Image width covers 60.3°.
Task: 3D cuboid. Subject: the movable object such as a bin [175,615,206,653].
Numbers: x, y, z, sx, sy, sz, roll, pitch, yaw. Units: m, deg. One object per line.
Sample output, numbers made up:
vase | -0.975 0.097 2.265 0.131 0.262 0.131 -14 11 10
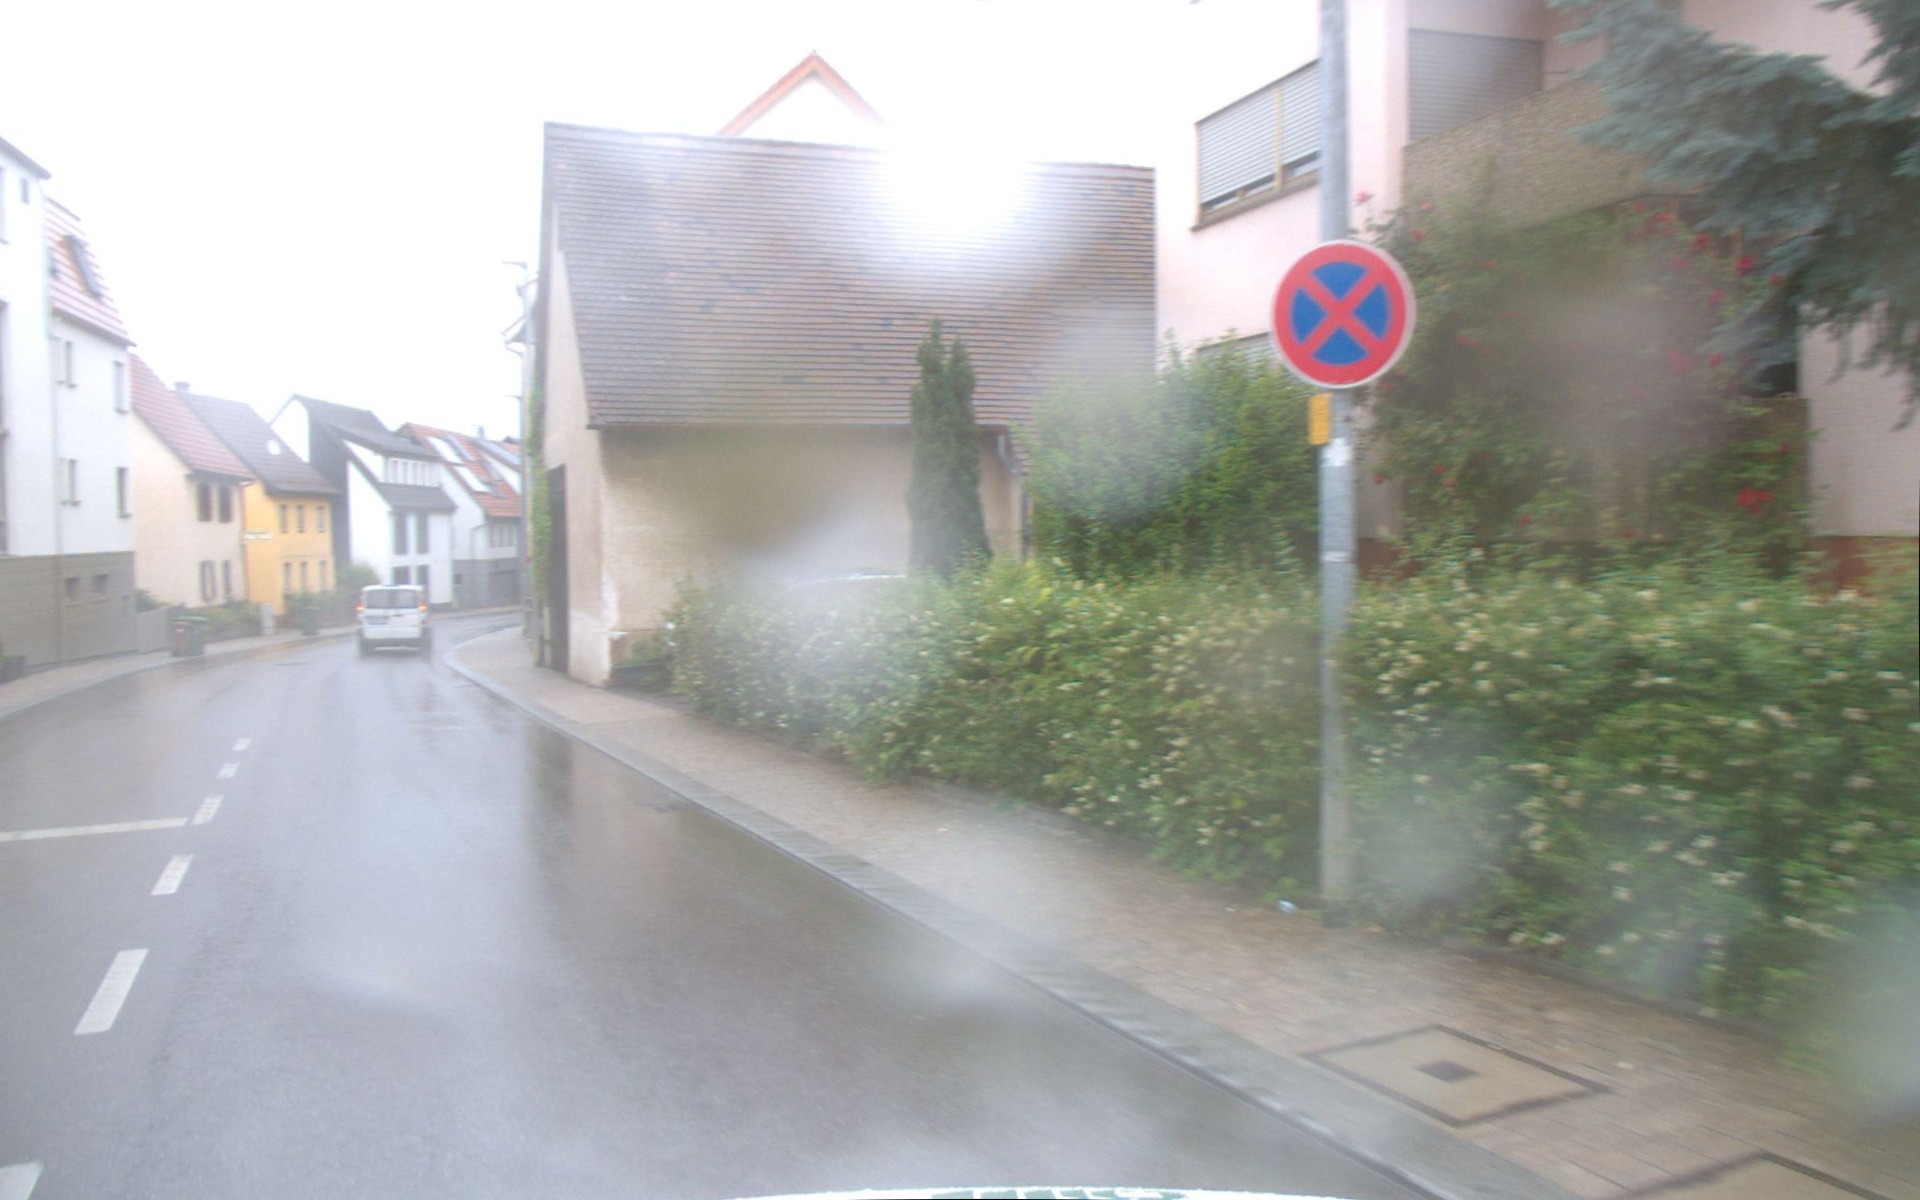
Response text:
movable object such as a bin | -21.914 0.972 47.132 0.670 1.064 0.659 0 0 -13

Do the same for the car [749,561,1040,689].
car | -1.047 0.344 26.072 4.158 1.677 1.891 -4 2 -22

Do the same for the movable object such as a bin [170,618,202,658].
movable object such as a bin | -21.653 1.063 46.296 0.670 1.085 0.692 0 0 -13

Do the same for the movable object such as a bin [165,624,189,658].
movable object such as a bin | -21.568 1.126 45.557 0.497 0.939 0.577 0 0 -15

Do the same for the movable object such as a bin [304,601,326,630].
movable object such as a bin | -24.895 0.599 63.840 0.648 1.074 0.761 1 0 -11

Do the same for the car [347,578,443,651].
car | -15.790 0.358 46.414 2.158 1.883 4.288 -2 1 -14
